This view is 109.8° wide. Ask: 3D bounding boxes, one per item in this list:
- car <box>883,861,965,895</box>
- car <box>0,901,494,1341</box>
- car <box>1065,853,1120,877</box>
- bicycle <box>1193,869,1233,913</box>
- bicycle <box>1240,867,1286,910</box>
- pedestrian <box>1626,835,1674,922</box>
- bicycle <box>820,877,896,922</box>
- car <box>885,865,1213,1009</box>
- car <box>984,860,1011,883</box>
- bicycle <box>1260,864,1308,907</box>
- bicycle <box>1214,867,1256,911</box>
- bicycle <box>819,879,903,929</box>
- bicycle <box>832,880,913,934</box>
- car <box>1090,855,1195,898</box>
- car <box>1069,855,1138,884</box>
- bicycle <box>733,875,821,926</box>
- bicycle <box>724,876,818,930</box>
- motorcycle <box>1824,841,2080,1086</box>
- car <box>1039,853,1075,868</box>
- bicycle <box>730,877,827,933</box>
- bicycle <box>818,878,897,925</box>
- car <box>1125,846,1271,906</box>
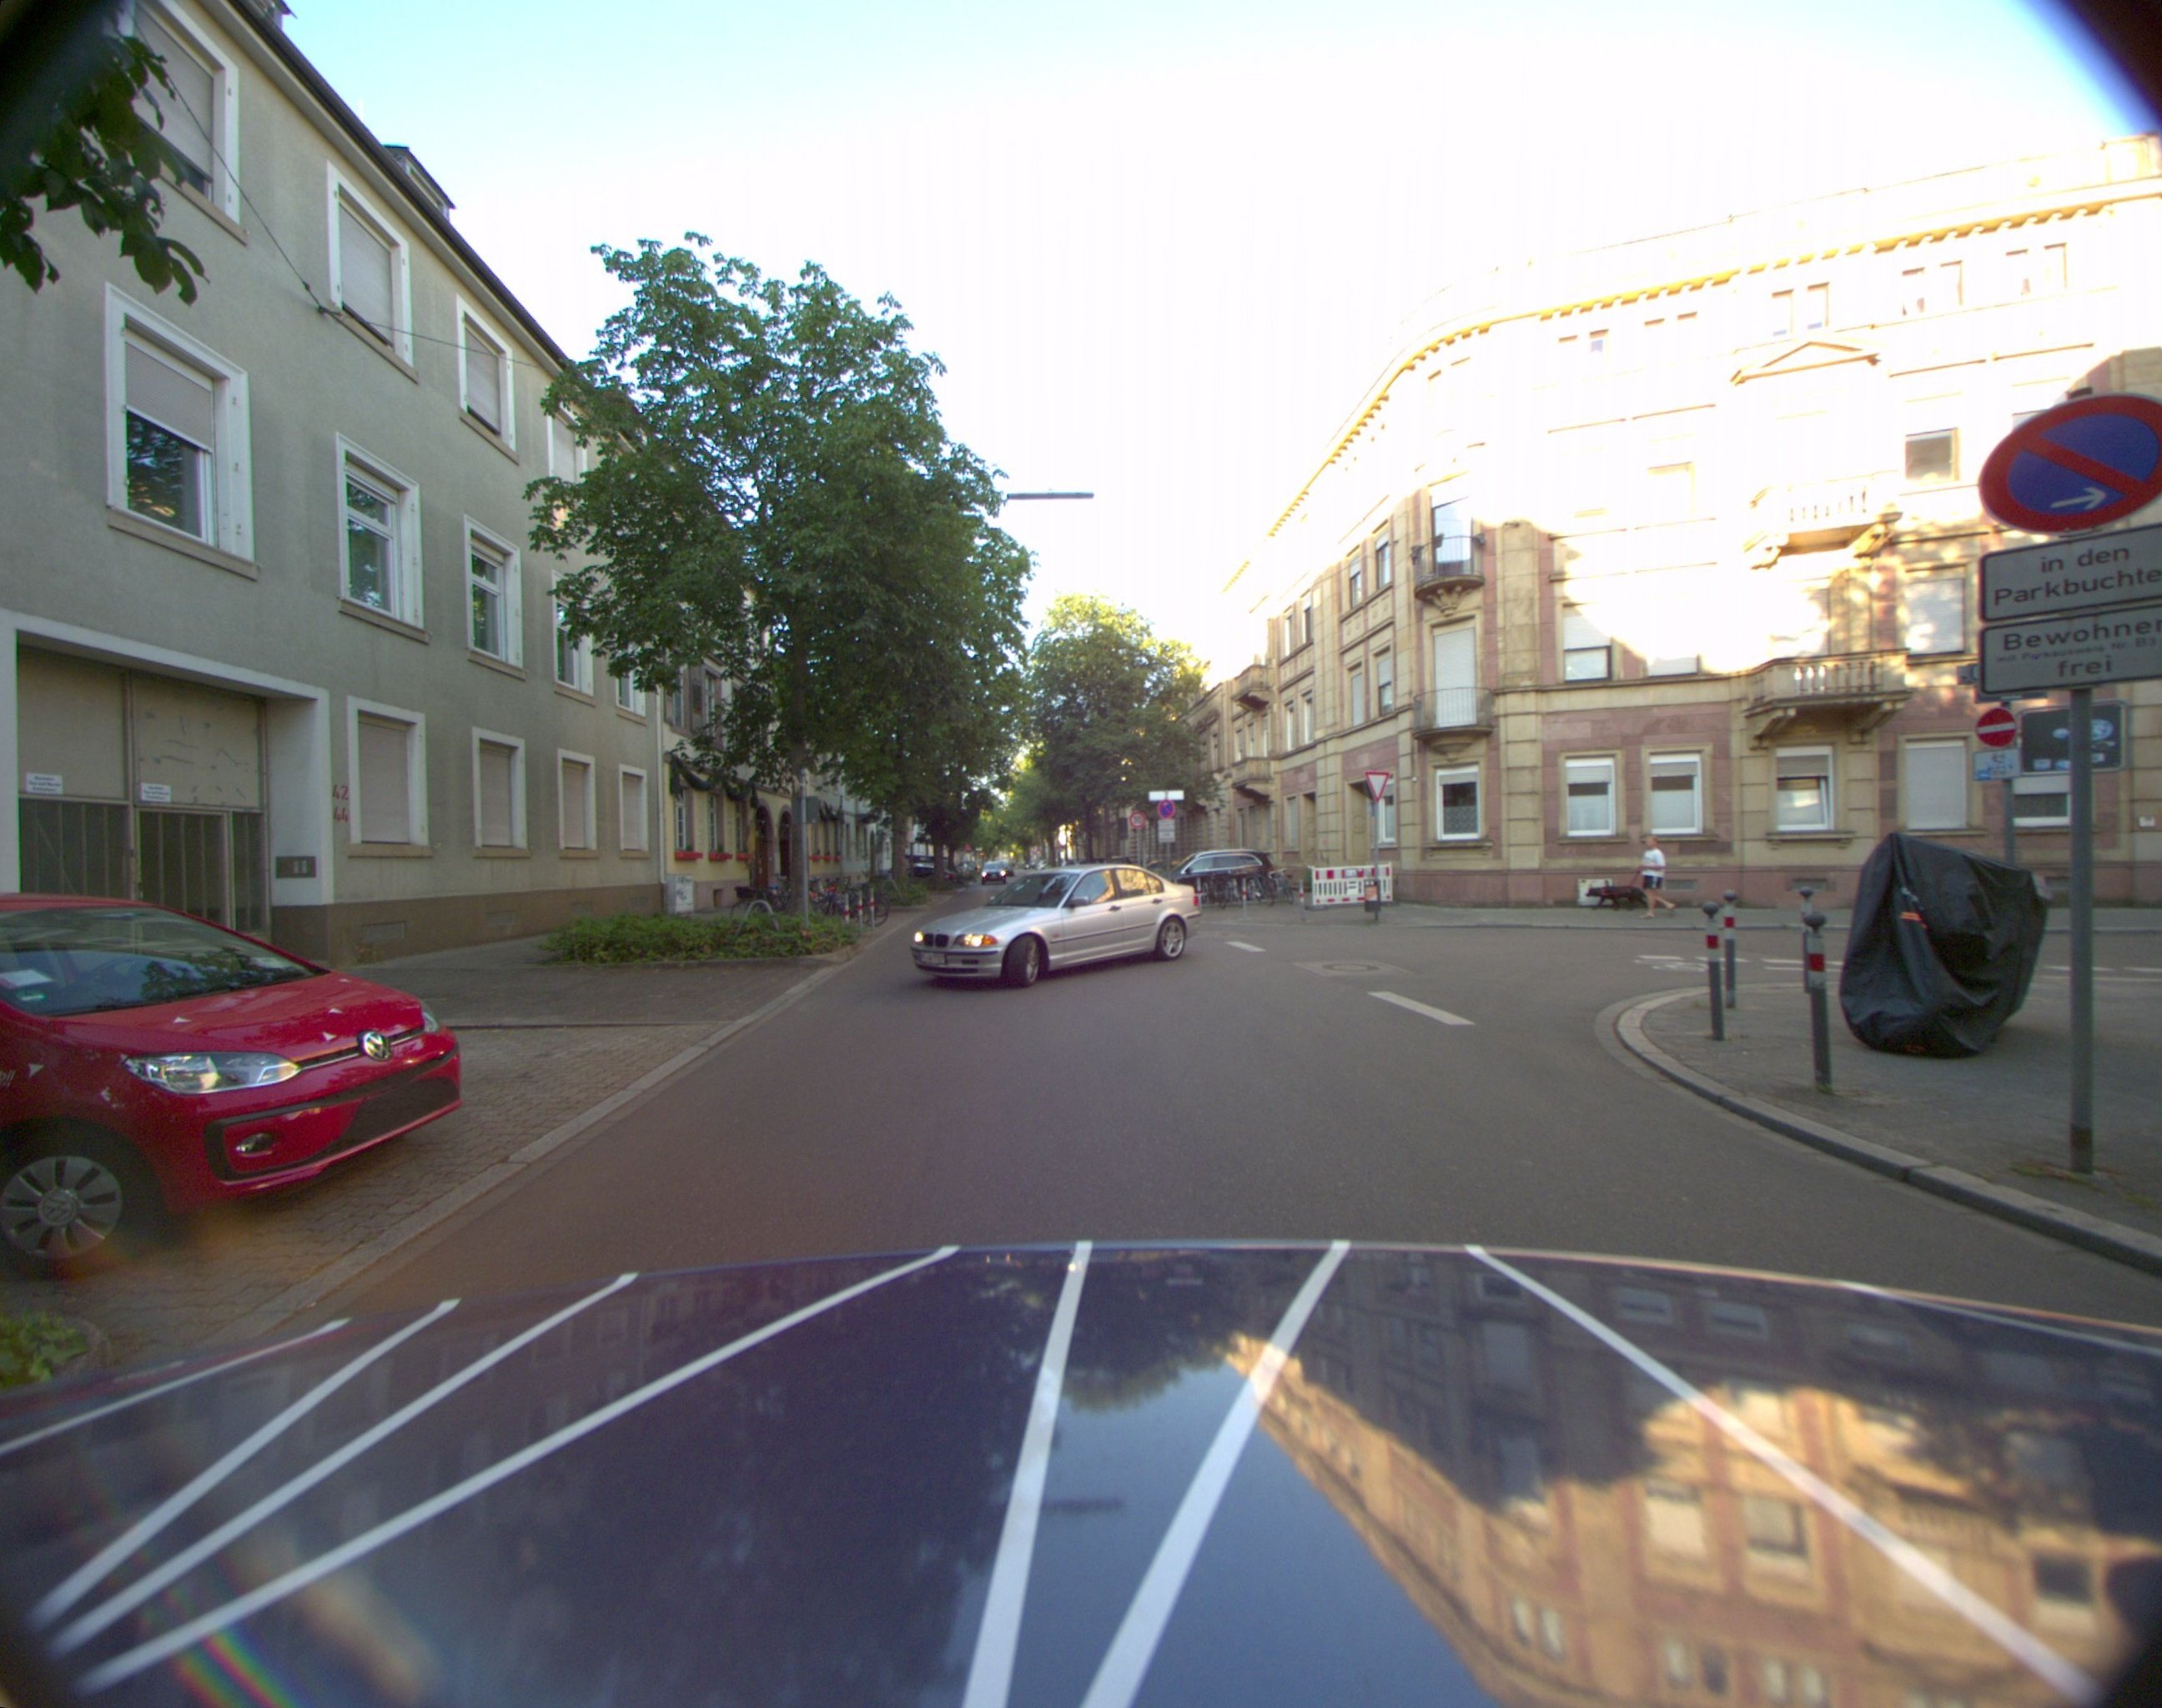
[{"bbox_3d":[-8.555,1.279,41.669,4.245,1.729,1.741,-1,0,-6],"label":"car"},{"bbox_3d":[-5.164,1.041,3.411,3.621,1.468,1.663,-1,0,-7],"label":"car"},{"bbox_3d":[0.863,0.872,60.850,4.245,1.749,1.741,-1,0,-5],"label":"car"},{"bbox_3d":[3.744,1.025,21.658,0.562,1.144,2.038,-1,0,-6],"label":"bicycle"},{"bbox_3d":[5.176,0.958,21.769,0.562,1.144,2.038,-1,0,-8],"label":"bicycle"},{"bbox_3d":[11.935,0.509,15.945,0.650,1.797,0.574,-1,1,18],"label":"pedestrian"},{"bbox_3d":[-6.369,1.287,21.788,2.029,1.220,0.535,-1,0,-11],"label":"bicycle"},{"bbox_3d":[-0.226,0.928,10.335,1.708,1.433,4.445,-1,0,45],"label":"car"},{"bbox_3d":[-6.106,1.249,55.897,1.806,1.543,3.998,-1,0,-4],"label":"car"},{"bbox_3d":[5.794,0.878,21.818,0.562,1.144,2.038,-1,0,-8],"label":"bicycle"},{"bbox_3d":[4.382,0.981,21.727,0.562,1.144,2.038,-1,0,-6],"label":"bicycle"},{"bbox_3d":[-5.661,1.283,19.637,2.029,1.220,0.535,-1,0,-11],"label":"bicycle"},{"bbox_3d":[-5.037,1.256,18.397,1.849,1.220,0.535,-1,0,-16],"label":"bicycle"},{"bbox_3d":[2.530,0.923,32.086,4.243,1.668,1.742,-1,0,-1],"label":"car"},{"bbox_3d":[1.410,0.961,48.379,4.245,1.749,1.741,-1,0,-5],"label":"car"},{"bbox_3d":[-7.815,1.182,19.596,2.029,1.220,0.535,-1,0,-13],"label":"bicycle"},{"bbox_3d":[-7.494,1.182,18.450,2.030,1.220,0.535,-1,0,-16],"label":"bicycle"},{"bbox_3d":[6.496,0.675,5.636,2.286,1.496,0.816,-1,1,-30],"label":"motorcycle"},{"bbox_3d":[-2.958,0.734,92.537,4.245,1.749,1.741,-1,0,-5],"label":"car"},{"bbox_3d":[-7.034,1.172,17.748,2.030,1.220,0.535,-1,0,-16],"label":"bicycle"},{"bbox_3d":[-6.128,1.287,20.918,2.029,1.220,0.535,-1,0,-11],"label":"bicycle"},{"bbox_3d":[3.724,0.687,24.640,4.422,1.771,1.742,-1,0,-1],"label":"car"}]
